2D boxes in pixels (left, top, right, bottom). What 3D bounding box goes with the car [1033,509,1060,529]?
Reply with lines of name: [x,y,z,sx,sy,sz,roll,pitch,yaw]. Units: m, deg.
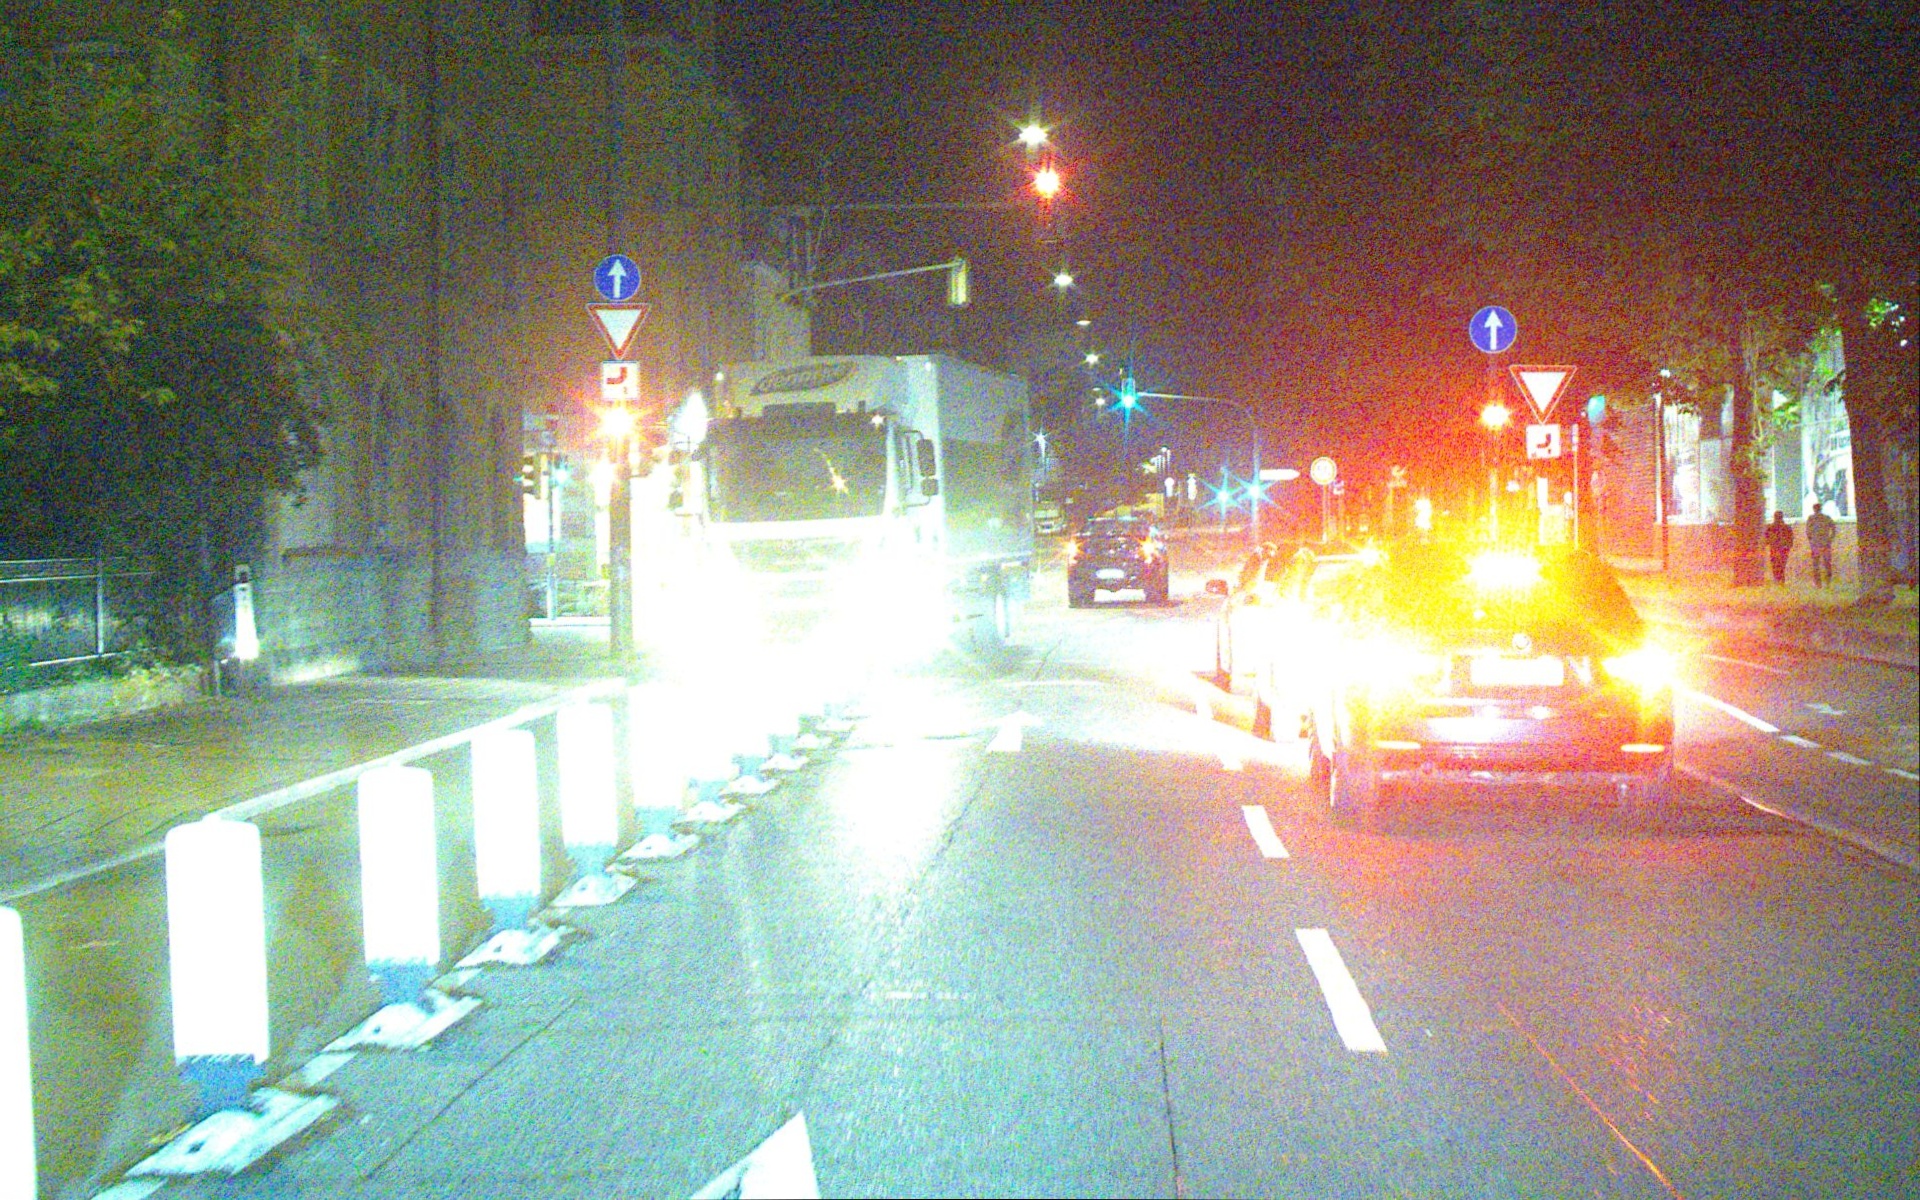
car: [6.062,-5.685,241.638,1.777,1.385,4.000,-2,1,1]

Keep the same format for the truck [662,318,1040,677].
truck: [-1.053,-1.201,41.513,2.756,3.705,10.110,-2,1,8]

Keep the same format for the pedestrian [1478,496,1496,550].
pedestrian: [19.834,-2.900,129.382,0.531,2.007,0.670,-1,1,2]

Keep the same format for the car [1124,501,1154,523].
car: [13.301,-6.549,255.709,1.993,1.590,4.000,-1,1,0]

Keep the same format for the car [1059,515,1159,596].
car: [3.134,-0.958,72.880,1.993,1.634,4.000,-1,1,1]

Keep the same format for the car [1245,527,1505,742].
car: [3.091,0.198,26.247,1.637,1.489,4.000,1,1,2]

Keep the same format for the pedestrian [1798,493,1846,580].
pedestrian: [17.730,-1.302,70.709,0.739,1.763,0.907,-2,1,3]

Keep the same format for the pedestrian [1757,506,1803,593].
pedestrian: [16.849,-1.044,70.683,0.714,1.763,0.907,-2,1,3]

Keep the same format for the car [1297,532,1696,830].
car: [2.979,0.368,19.995,1.805,1.489,4.729,1,1,3]

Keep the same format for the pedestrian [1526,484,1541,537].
pedestrian: [21.680,-3.385,129.962,0.488,2.007,0.551,-1,1,2]

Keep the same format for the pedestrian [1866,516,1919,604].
pedestrian: [19.146,-0.824,70.476,0.901,1.763,0.907,-2,1,3]

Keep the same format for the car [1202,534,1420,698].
car: [3.288,0.103,32.896,1.729,1.430,4.211,1,1,1]
